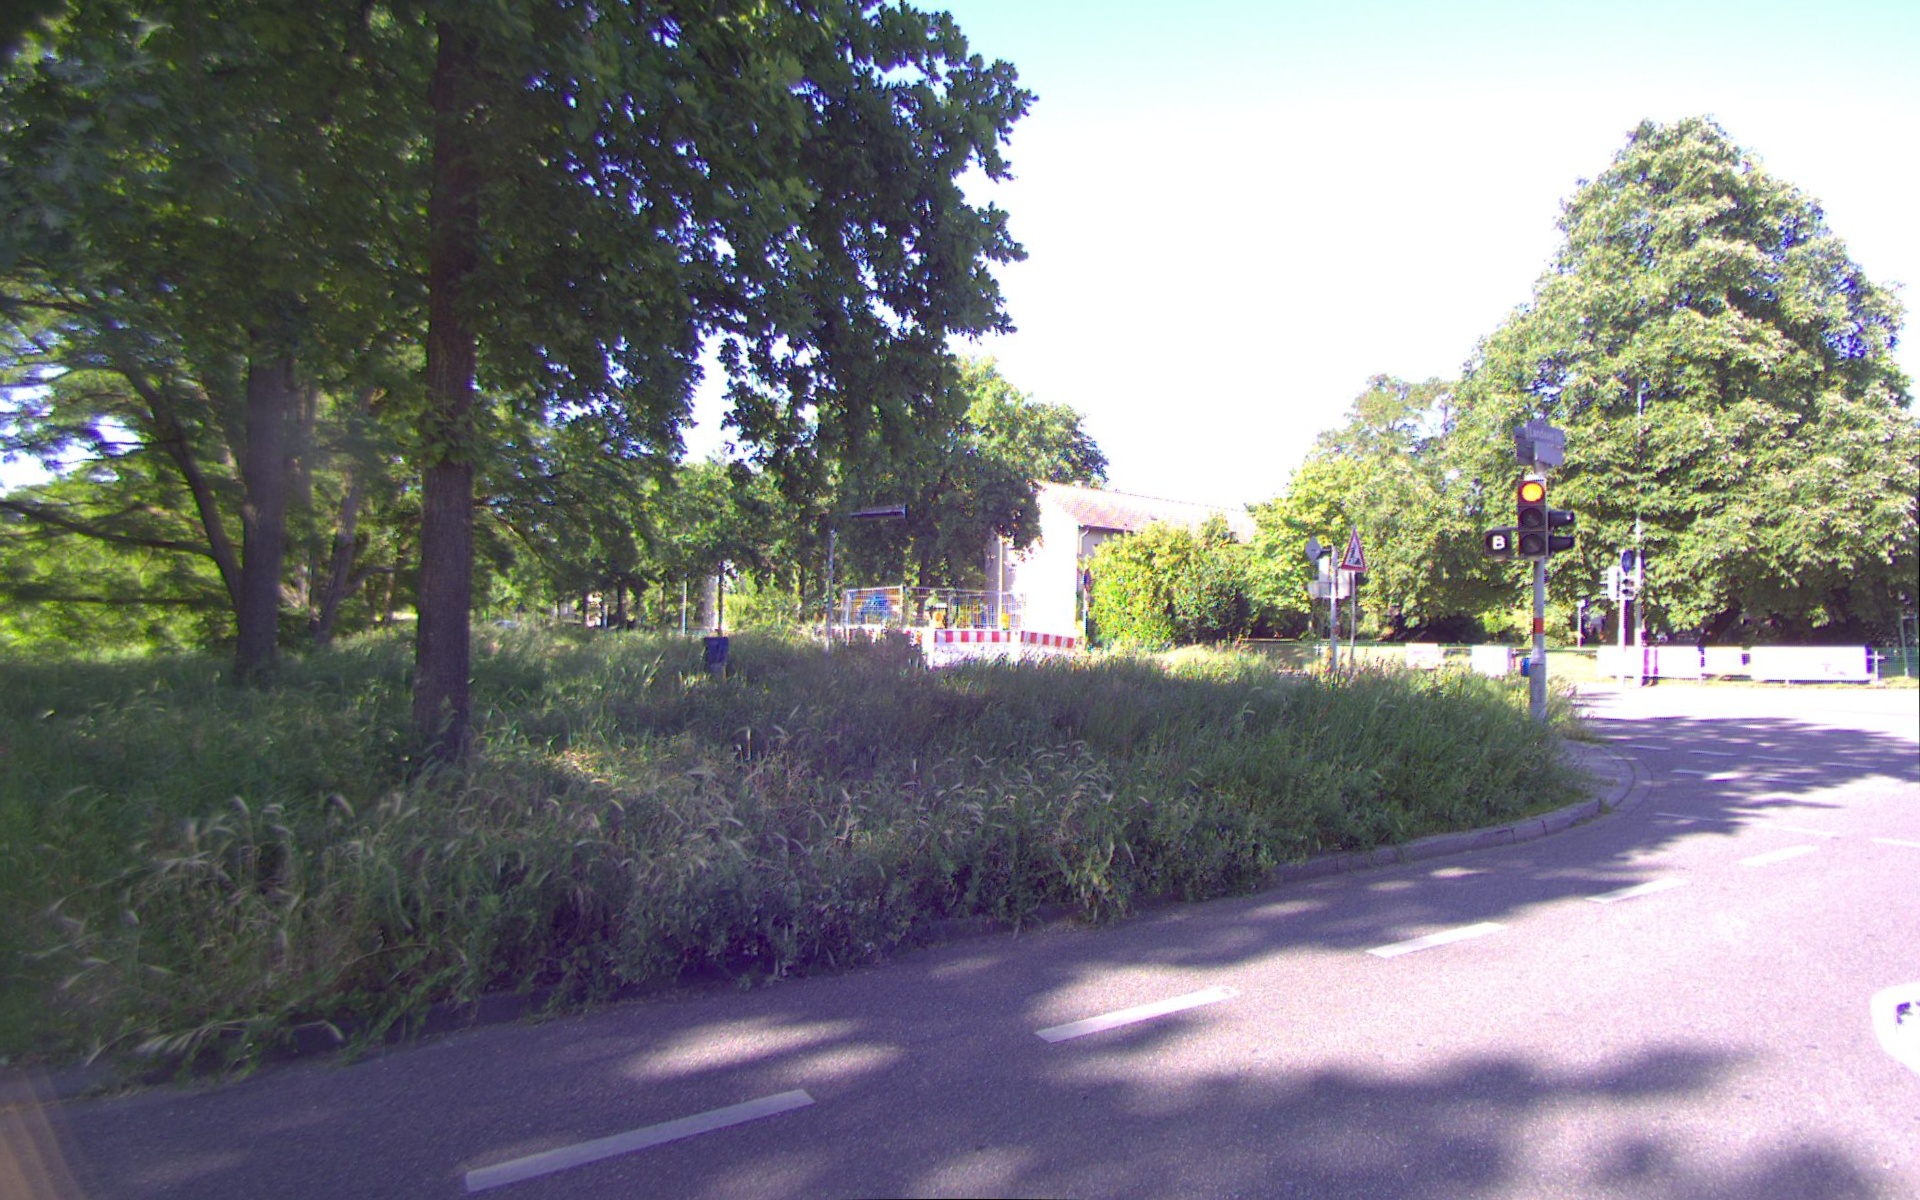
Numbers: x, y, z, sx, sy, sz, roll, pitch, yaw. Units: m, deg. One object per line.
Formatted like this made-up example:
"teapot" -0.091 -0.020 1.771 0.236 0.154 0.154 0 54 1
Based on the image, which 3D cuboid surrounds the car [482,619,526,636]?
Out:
"car" -47.385 2.863 104.495 3.939 1.673 1.991 2 0 -20
